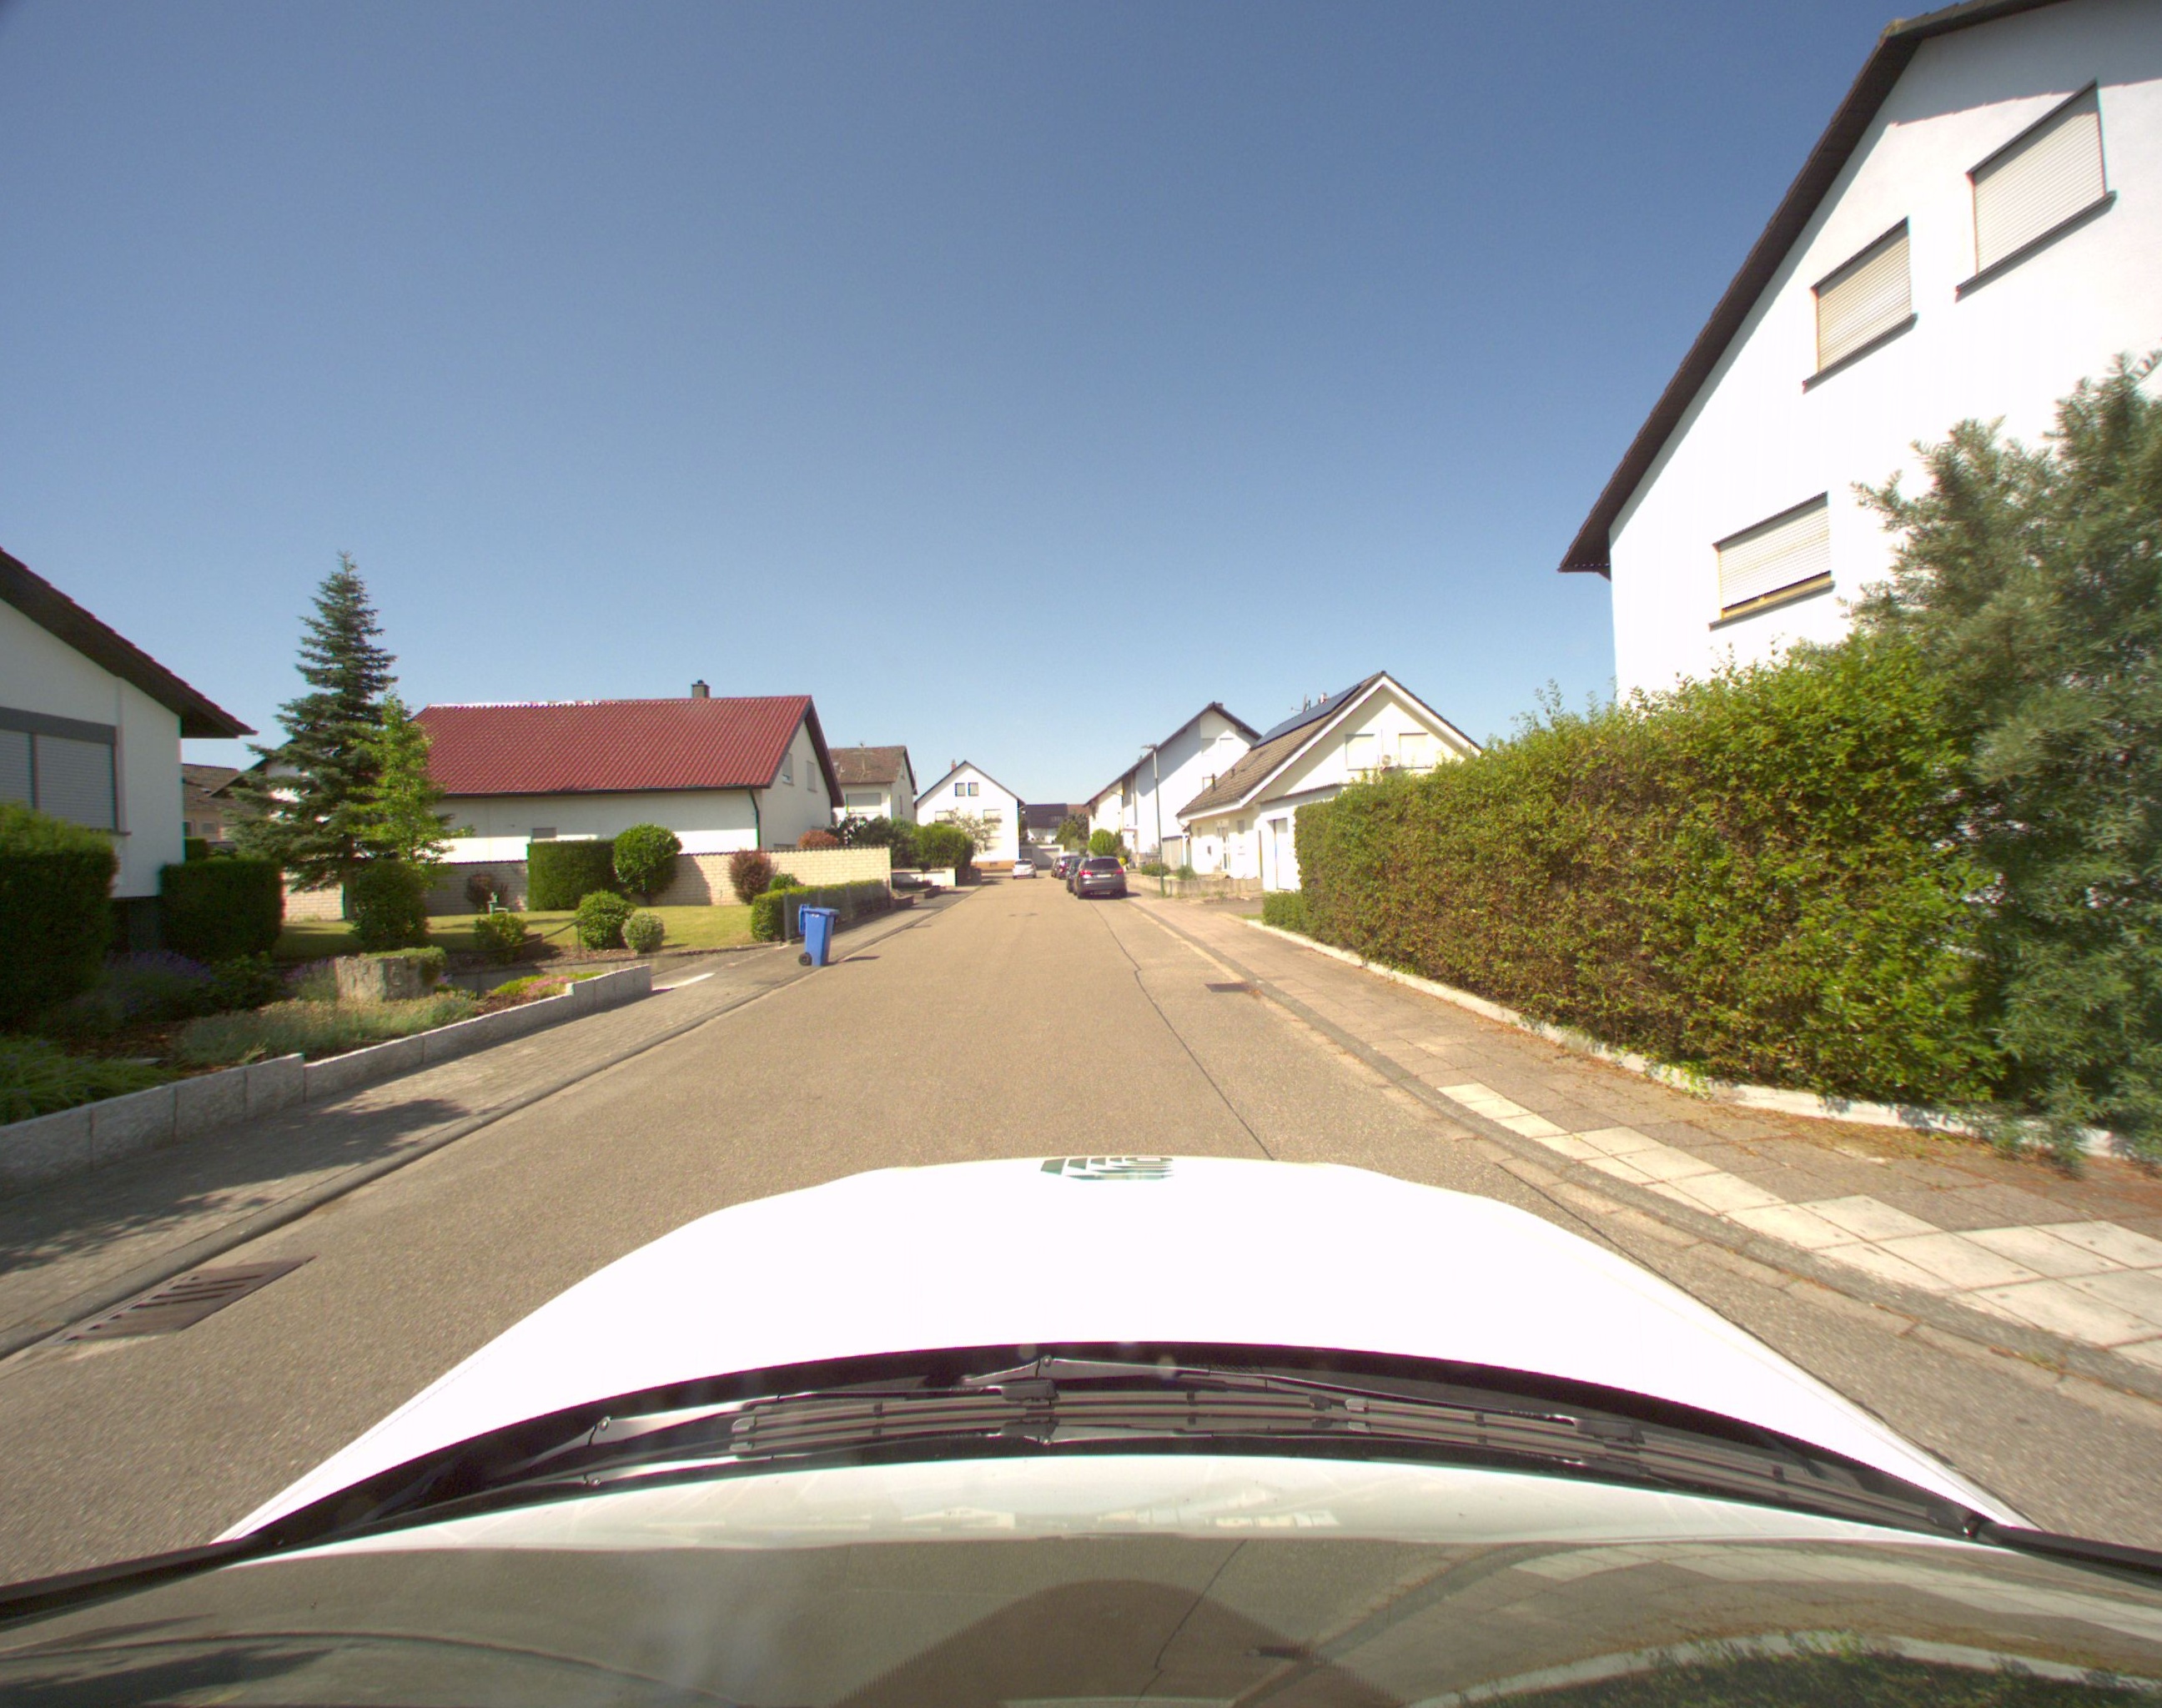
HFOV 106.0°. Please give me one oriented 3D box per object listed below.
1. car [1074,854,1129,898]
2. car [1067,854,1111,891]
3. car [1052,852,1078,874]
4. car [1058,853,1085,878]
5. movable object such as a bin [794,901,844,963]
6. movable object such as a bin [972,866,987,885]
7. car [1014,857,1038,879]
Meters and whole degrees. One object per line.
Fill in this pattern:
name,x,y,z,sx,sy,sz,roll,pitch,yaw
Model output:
car,0.683,0.749,30.210,1.639,1.478,3.994,-1,0,-4
car,0.279,0.786,36.067,1.713,1.438,4.499,-2,0,-2
car,-1.250,0.670,61.616,1.643,1.546,4.040,-3,0,-5
car,-0.696,0.796,56.569,1.641,1.581,4.142,-3,0,-3
movable object such as a bin,-4.158,1.231,12.950,0.581,0.916,0.597,-2,0,-3
movable object such as a bin,-6.047,1.270,48.519,0.817,1.063,0.610,-3,0,-5
car,-4.105,1.032,61.286,1.642,1.581,3.805,-3,0,-3
